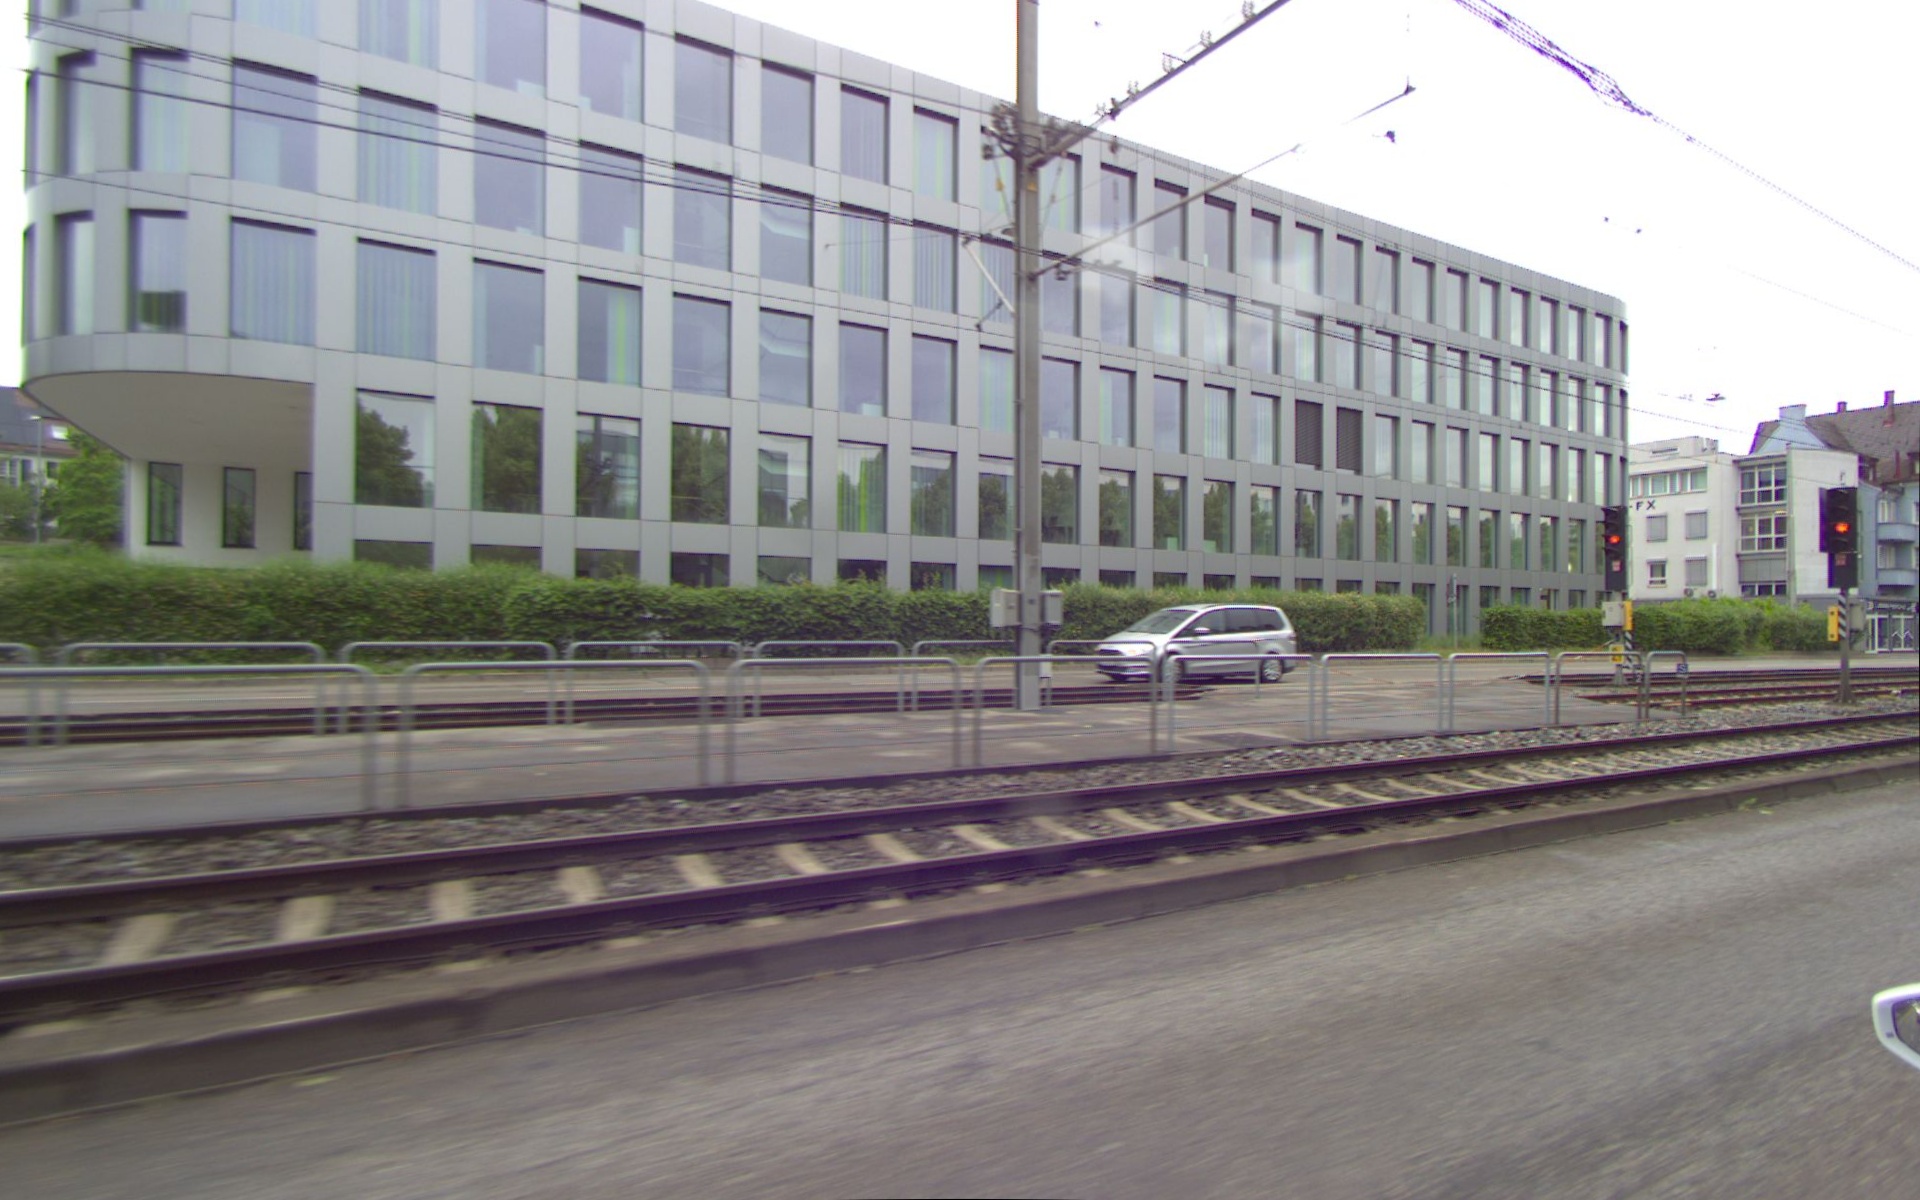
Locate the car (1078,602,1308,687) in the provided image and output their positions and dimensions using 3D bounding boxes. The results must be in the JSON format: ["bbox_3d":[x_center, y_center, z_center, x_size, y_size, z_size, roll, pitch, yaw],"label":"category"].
[{"bbox_3d":[5.080,0.956,21.714,4.824,1.666,1.894,2,-1,-29],"label":"car"}]
